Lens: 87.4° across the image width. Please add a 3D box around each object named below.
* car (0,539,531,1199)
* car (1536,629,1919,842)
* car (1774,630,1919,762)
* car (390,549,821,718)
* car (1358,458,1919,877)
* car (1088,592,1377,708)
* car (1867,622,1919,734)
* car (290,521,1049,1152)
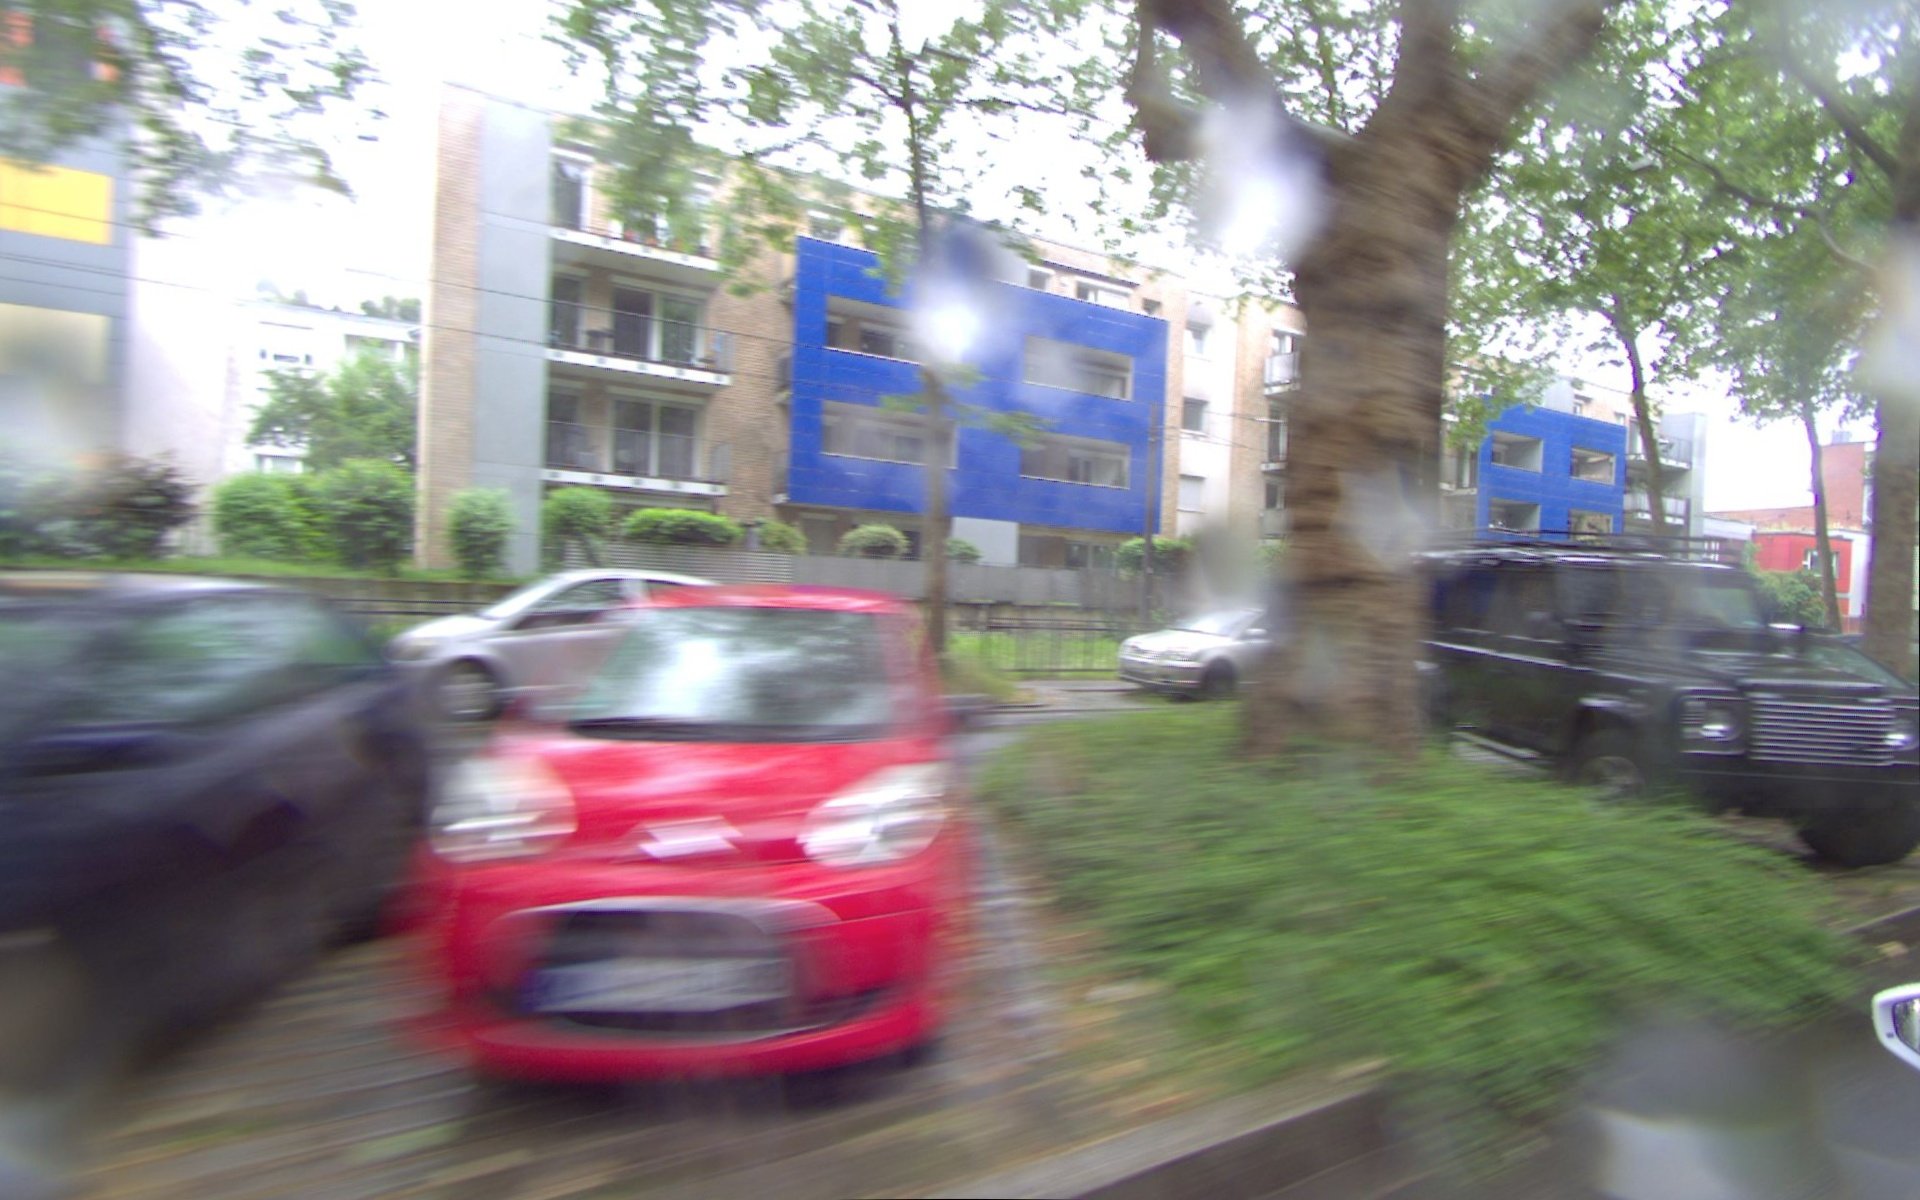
[{"bbox_3d":[-2.863,0.558,2.857,1.748,1.454,4.044,3,0,-4],"label":"car"},{"bbox_3d":[7.411,1.035,8.853,1.811,1.343,4.659,3,0,-2],"label":"car"},{"bbox_3d":[12.100,1.199,11.985,1.612,1.487,3.506,3,0,-8],"label":"car"},{"bbox_3d":[-3.879,0.364,11.149,4.169,1.554,1.894,3,1,-32],"label":"car"},{"bbox_3d":[5.037,0.404,8.081,1.971,2.313,4.662,3,0,4],"label":"car"},{"bbox_3d":[4.357,0.784,15.902,4.372,1.554,1.894,3,1,-32],"label":"car"},{"bbox_3d":[14.600,1.197,13.103,1.799,1.558,4.065,3,1,1],"label":"car"},{"bbox_3d":[-0.755,0.592,4.185,1.747,1.455,3.502,3,0,-2],"label":"car"}]
